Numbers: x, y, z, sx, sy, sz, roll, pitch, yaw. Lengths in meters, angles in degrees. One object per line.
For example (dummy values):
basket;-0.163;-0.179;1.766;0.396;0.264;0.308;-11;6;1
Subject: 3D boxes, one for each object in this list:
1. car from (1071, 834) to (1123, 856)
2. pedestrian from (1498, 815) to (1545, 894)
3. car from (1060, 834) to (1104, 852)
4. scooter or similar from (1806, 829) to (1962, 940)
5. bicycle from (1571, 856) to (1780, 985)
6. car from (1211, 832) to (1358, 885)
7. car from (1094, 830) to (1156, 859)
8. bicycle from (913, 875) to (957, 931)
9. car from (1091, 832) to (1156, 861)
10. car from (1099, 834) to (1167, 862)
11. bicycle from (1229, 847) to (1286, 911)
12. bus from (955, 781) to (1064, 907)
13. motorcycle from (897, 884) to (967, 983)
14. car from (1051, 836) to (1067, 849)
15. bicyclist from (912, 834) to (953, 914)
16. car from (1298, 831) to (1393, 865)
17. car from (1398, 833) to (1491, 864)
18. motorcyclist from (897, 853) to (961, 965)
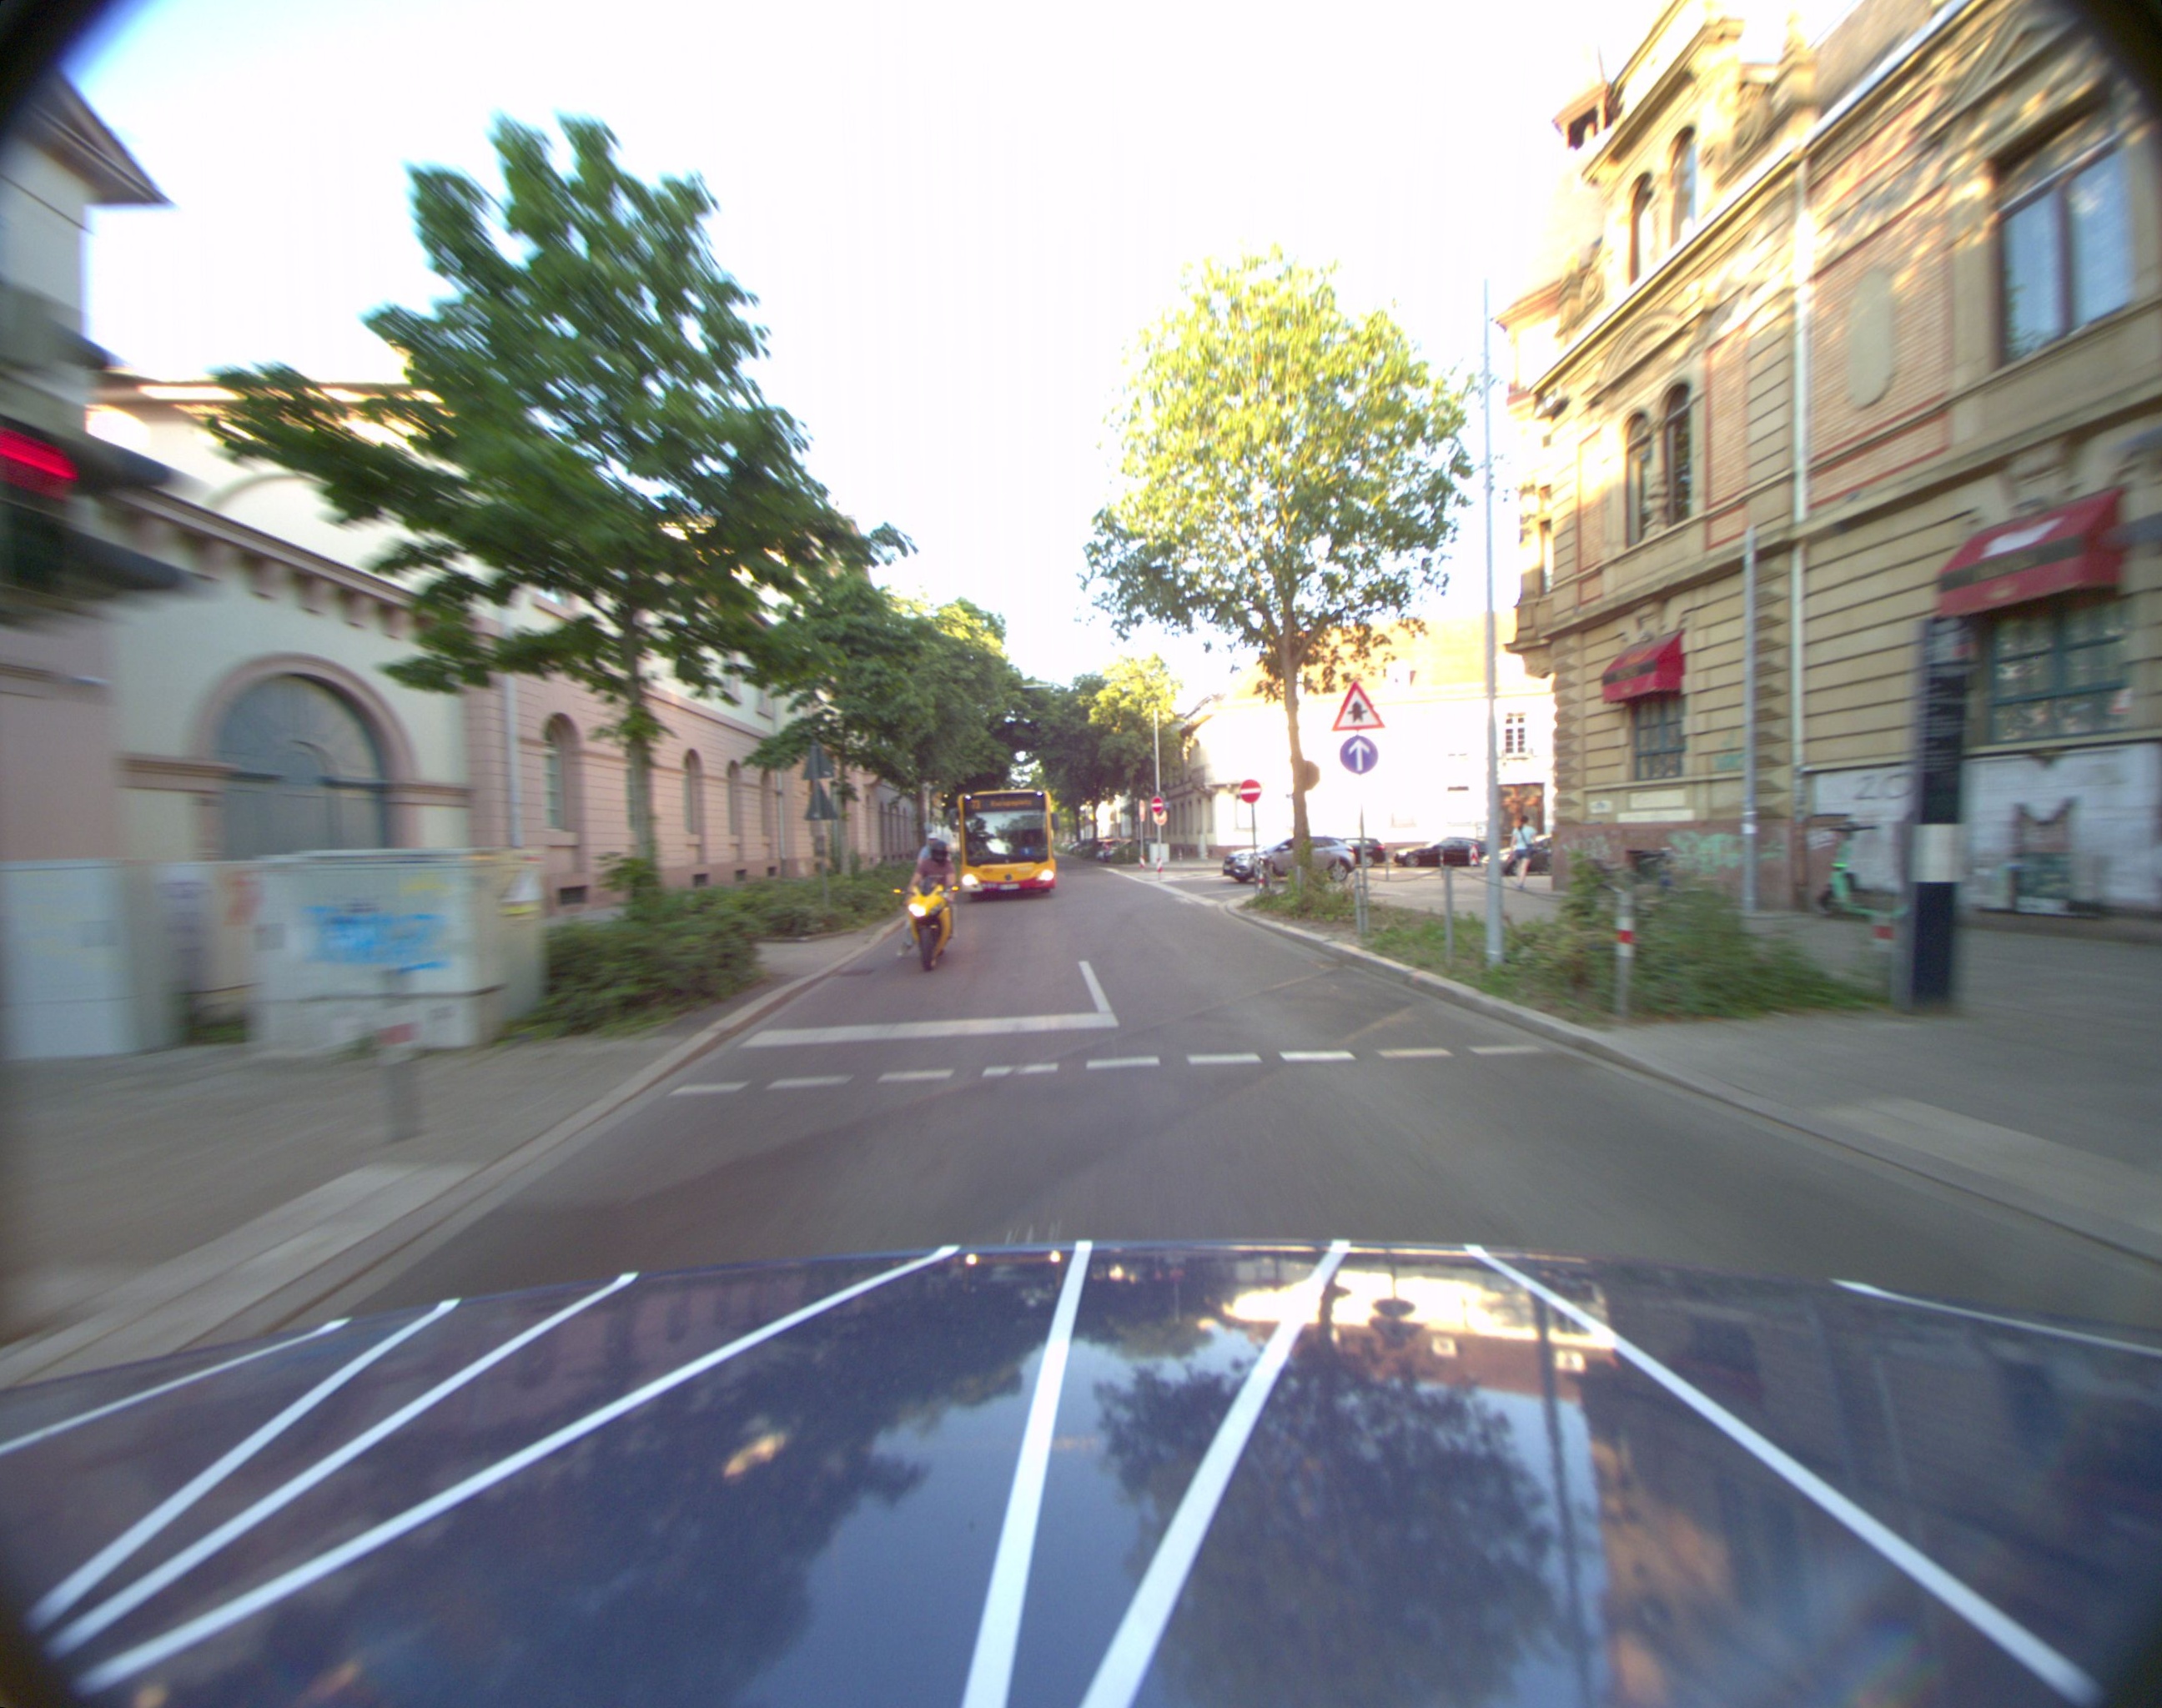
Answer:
car;1.308;-0.784;63.672;4.001;1.699;1.997;-2;2;-12
pedestrian;9.063;0.000;15.617;0.652;1.556;0.908;-4;1;37
car;0.082;-1.076;74.677;4.001;1.699;1.842;-2;2;-12
scooter or similar;9.417;0.336;8.972;0.385;1.191;1.273;-4;0;-3
bicycle;5.998;0.608;7.815;0.500;1.101;1.798;-4;2;-9
car;6.786;0.100;25.538;4.361;1.561;1.945;-2;3;-13
car;3.102;-0.706;53.960;4.001;1.940;1.997;-2;2;-12
bicycle;-3.005;0.982;15.760;0.637;0.977;1.980;-4;1;-5
car;2.852;-0.528;51.466;4.001;1.801;1.798;-2;2;-12
car;3.320;-0.395;48.789;4.001;1.660;1.798;-2;2;-12
bicycle;3.889;0.507;16.550;0.805;1.217;2.421;-5;-1;21
bus;-2.289;-0.407;25.994;2.669;3.177;11.890;-3;2;-4
motorcycle;-2.065;1.014;10.332;0.738;1.054;1.961;-3;3;-16
car;-2.756;-1.440;95.131;1.799;1.502;3.997;-2;1;-4
bicyclist;-3.040;0.394;15.635;0.637;1.552;0.818;-4;2;-5
car;12.941;-0.306;37.188;4.261;1.521;1.835;-1;2;20
car;17.003;-0.251;35.733;3.808;1.318;1.835;-1;2;22
motorcyclist;-2.071;0.714;10.322;0.738;1.404;0.725;-3;3;-16
